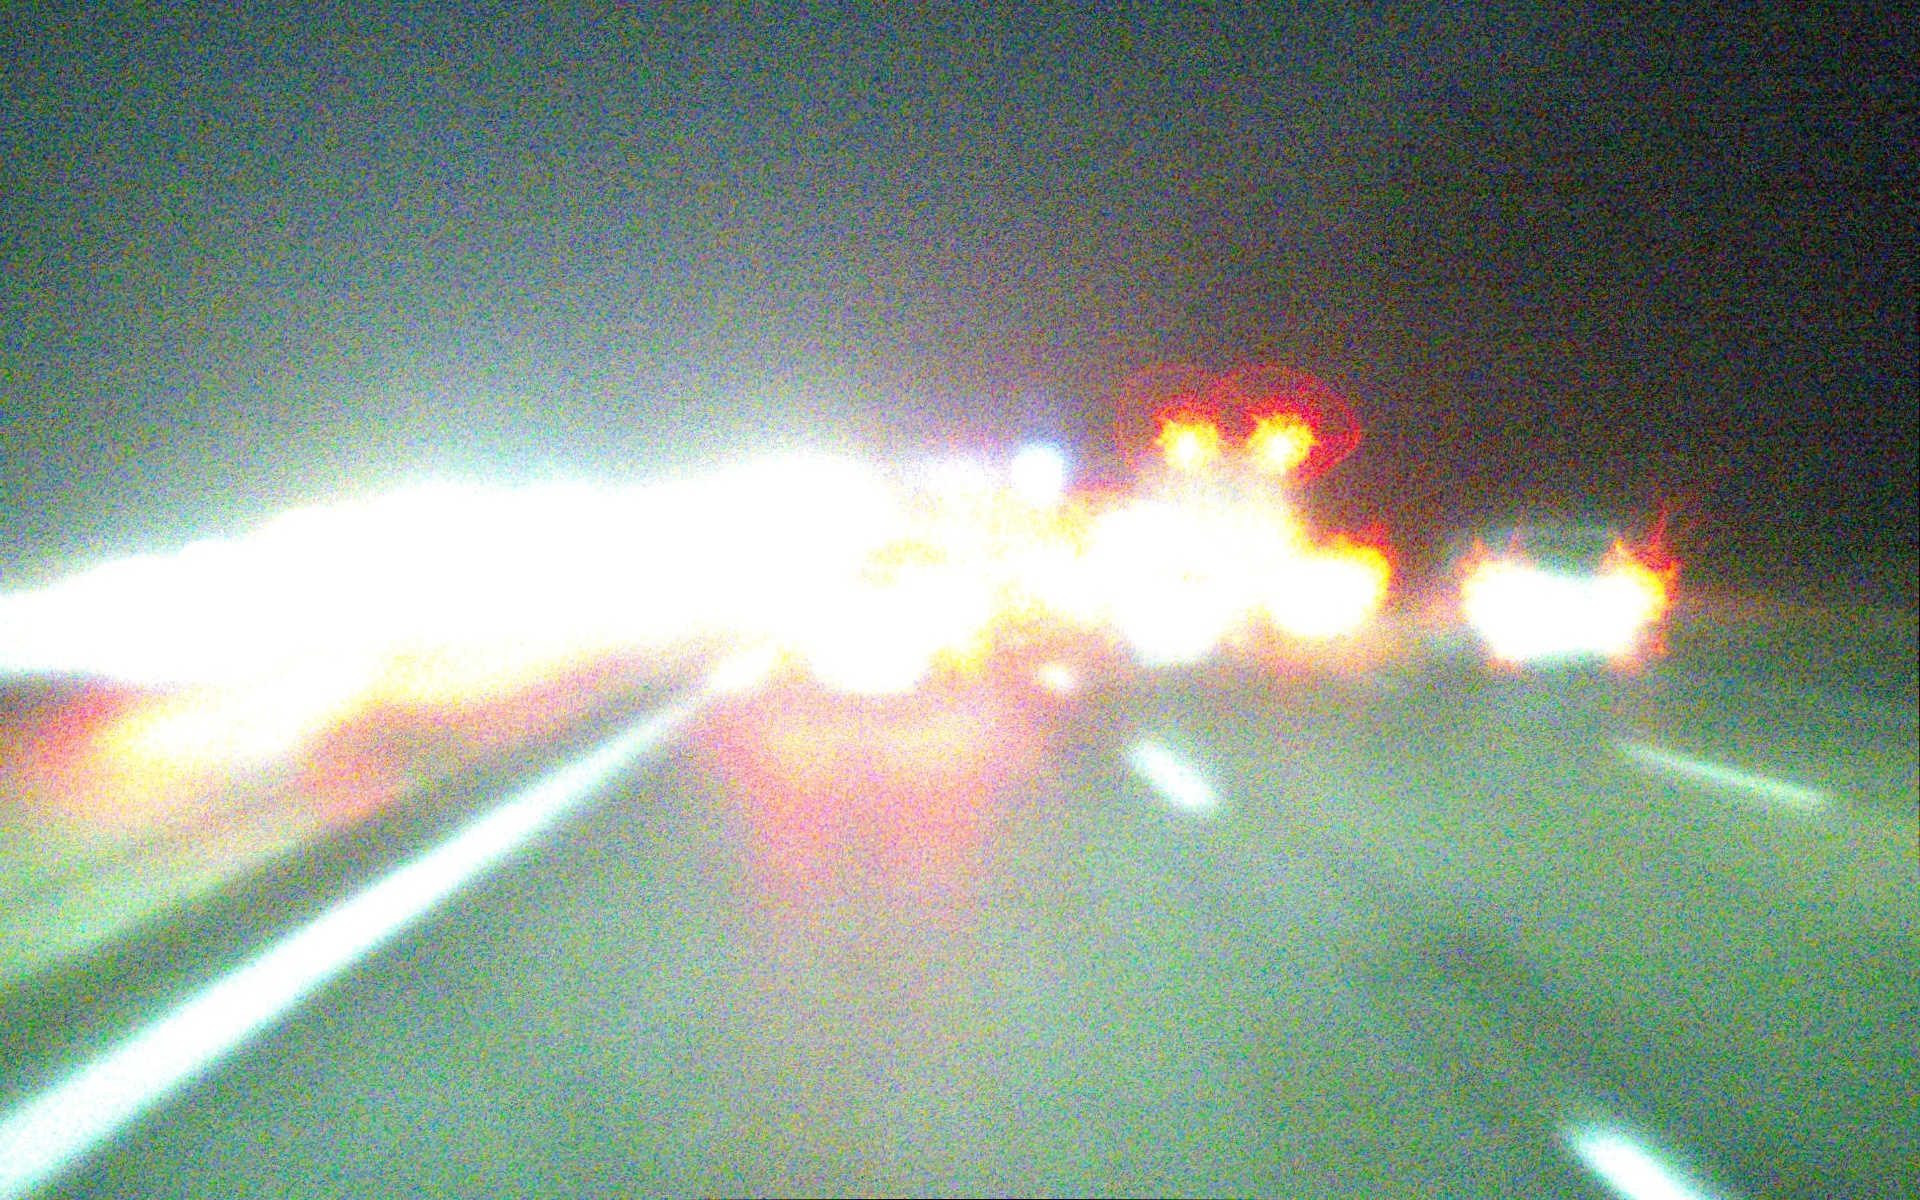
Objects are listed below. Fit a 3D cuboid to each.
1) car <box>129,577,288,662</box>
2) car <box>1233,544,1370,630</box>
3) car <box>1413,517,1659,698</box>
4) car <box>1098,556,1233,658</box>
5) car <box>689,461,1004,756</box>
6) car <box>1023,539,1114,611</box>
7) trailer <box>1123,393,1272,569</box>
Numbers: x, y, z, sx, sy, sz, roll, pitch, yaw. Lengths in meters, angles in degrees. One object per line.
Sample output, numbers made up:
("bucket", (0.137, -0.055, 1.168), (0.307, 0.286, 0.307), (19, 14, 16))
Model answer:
("car", (-14.077, 0.343, 64.637), (1.993, 1.410, 4.590), (-2, 1, -1))
("car", (6.313, -0.275, 64.010), (1.894, 1.481, 4.962), (1, 1, -2))
("car", (6.860, 0.025, 41.544), (2.046, 1.967, 5.407), (-2, 1, 1))
("car", (2.943, 0.070, 49.927), (1.612, 1.407, 3.792), (0, 1, -2))
("car", (-1.111, 0.004, 33.504), (2.709, 2.525, 5.831), (-2, 1, -2))
("car", (2.452, -0.590, 78.228), (1.884, 1.583, 4.000), (0, 1, -1))
("trailer", (5.991, -2.961, 88.585), (2.803, 4.198, 12.097), (0, 1, -1))
